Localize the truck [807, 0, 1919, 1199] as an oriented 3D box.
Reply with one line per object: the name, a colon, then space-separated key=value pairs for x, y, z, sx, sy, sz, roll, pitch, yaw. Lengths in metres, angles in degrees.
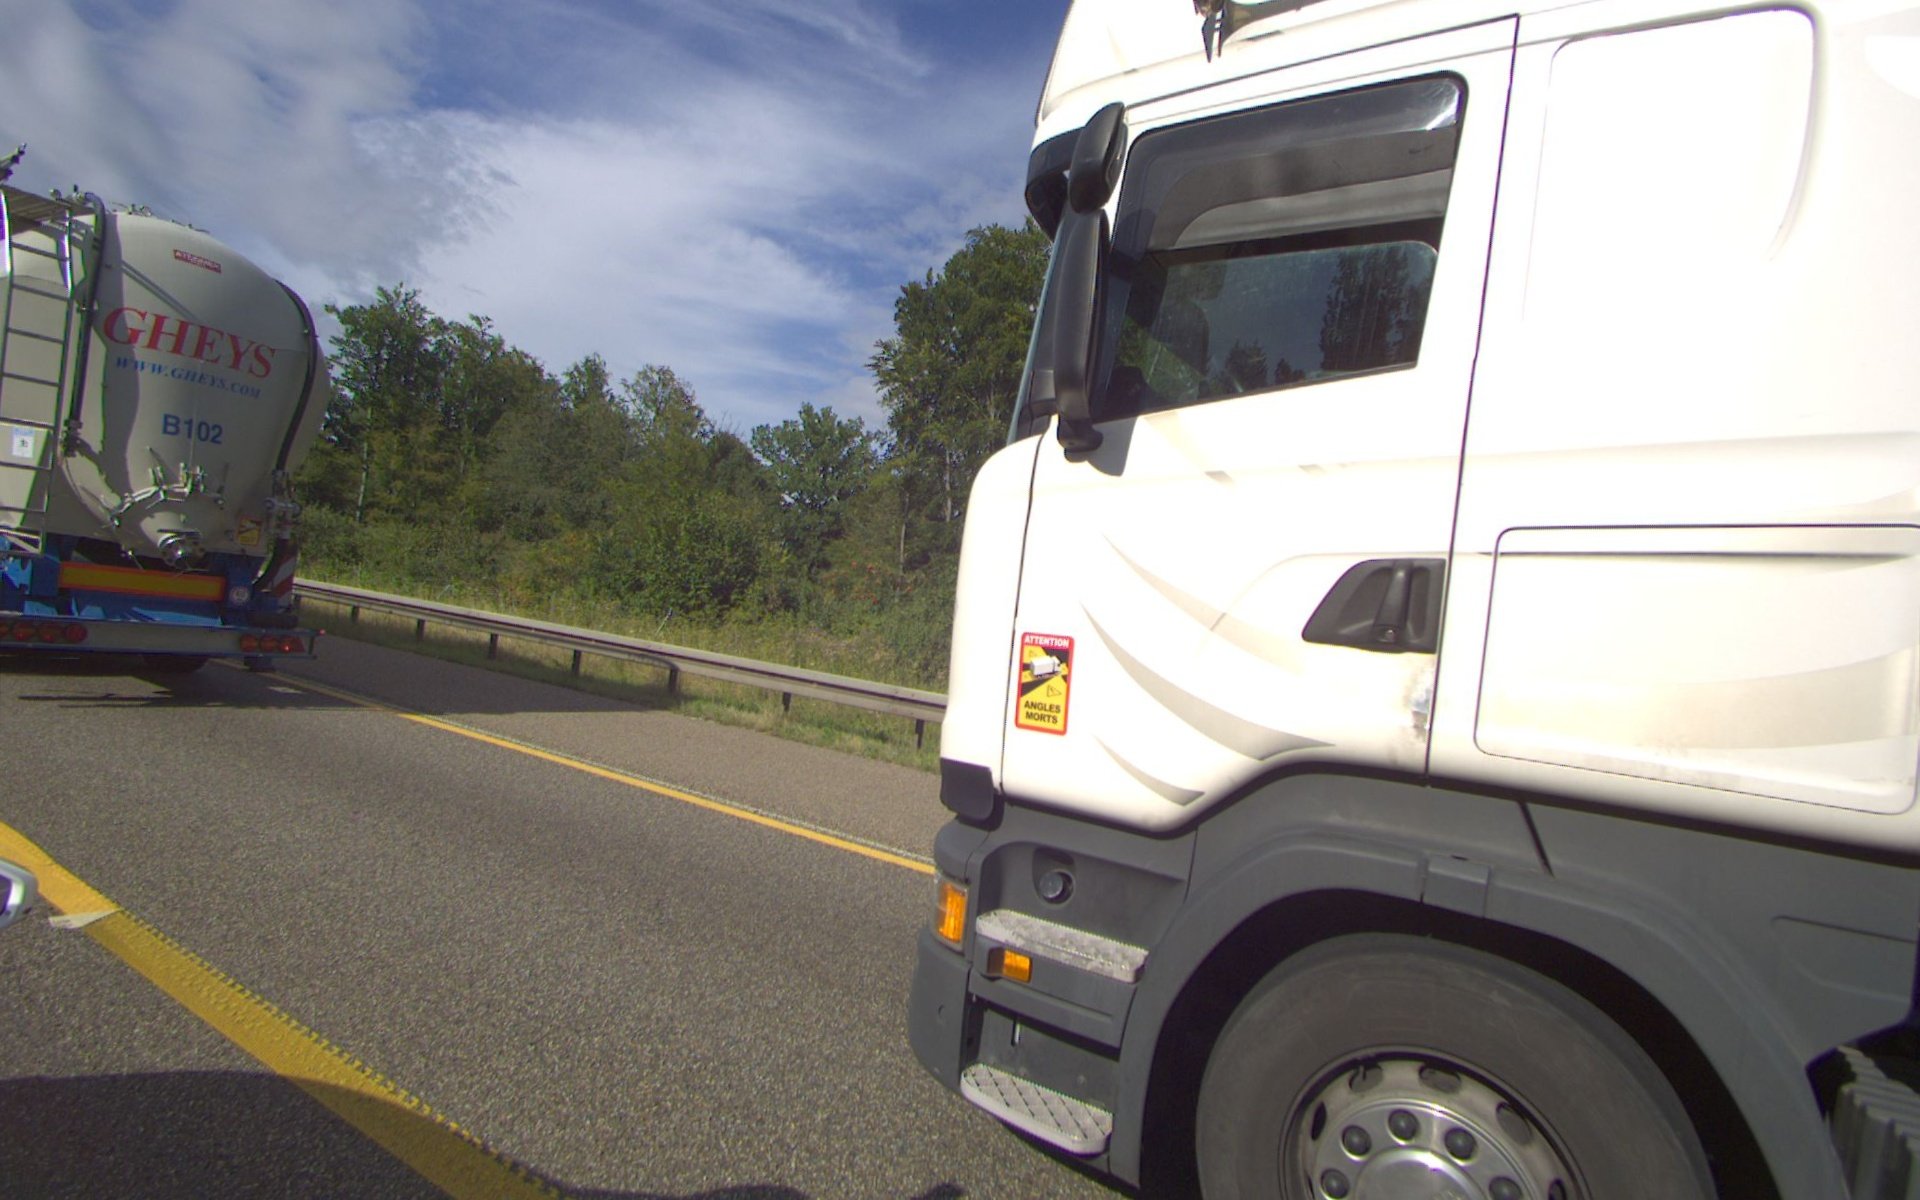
truck: x=2.921 y=-0.160 z=2.291 sx=5.614 sy=4.006 sz=2.673 roll=7 pitch=-1 yaw=31

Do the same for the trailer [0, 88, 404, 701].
trailer: x=-11.051 y=-1.829 z=10.912 sx=12.388 sy=3.989 sz=2.649 roll=7 pitch=-1 yaw=31

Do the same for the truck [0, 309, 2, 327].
truck: x=-16.712 y=-2.463 z=14.376 sx=5.683 sy=4.018 sz=2.664 roll=6 pitch=-2 yaw=31
